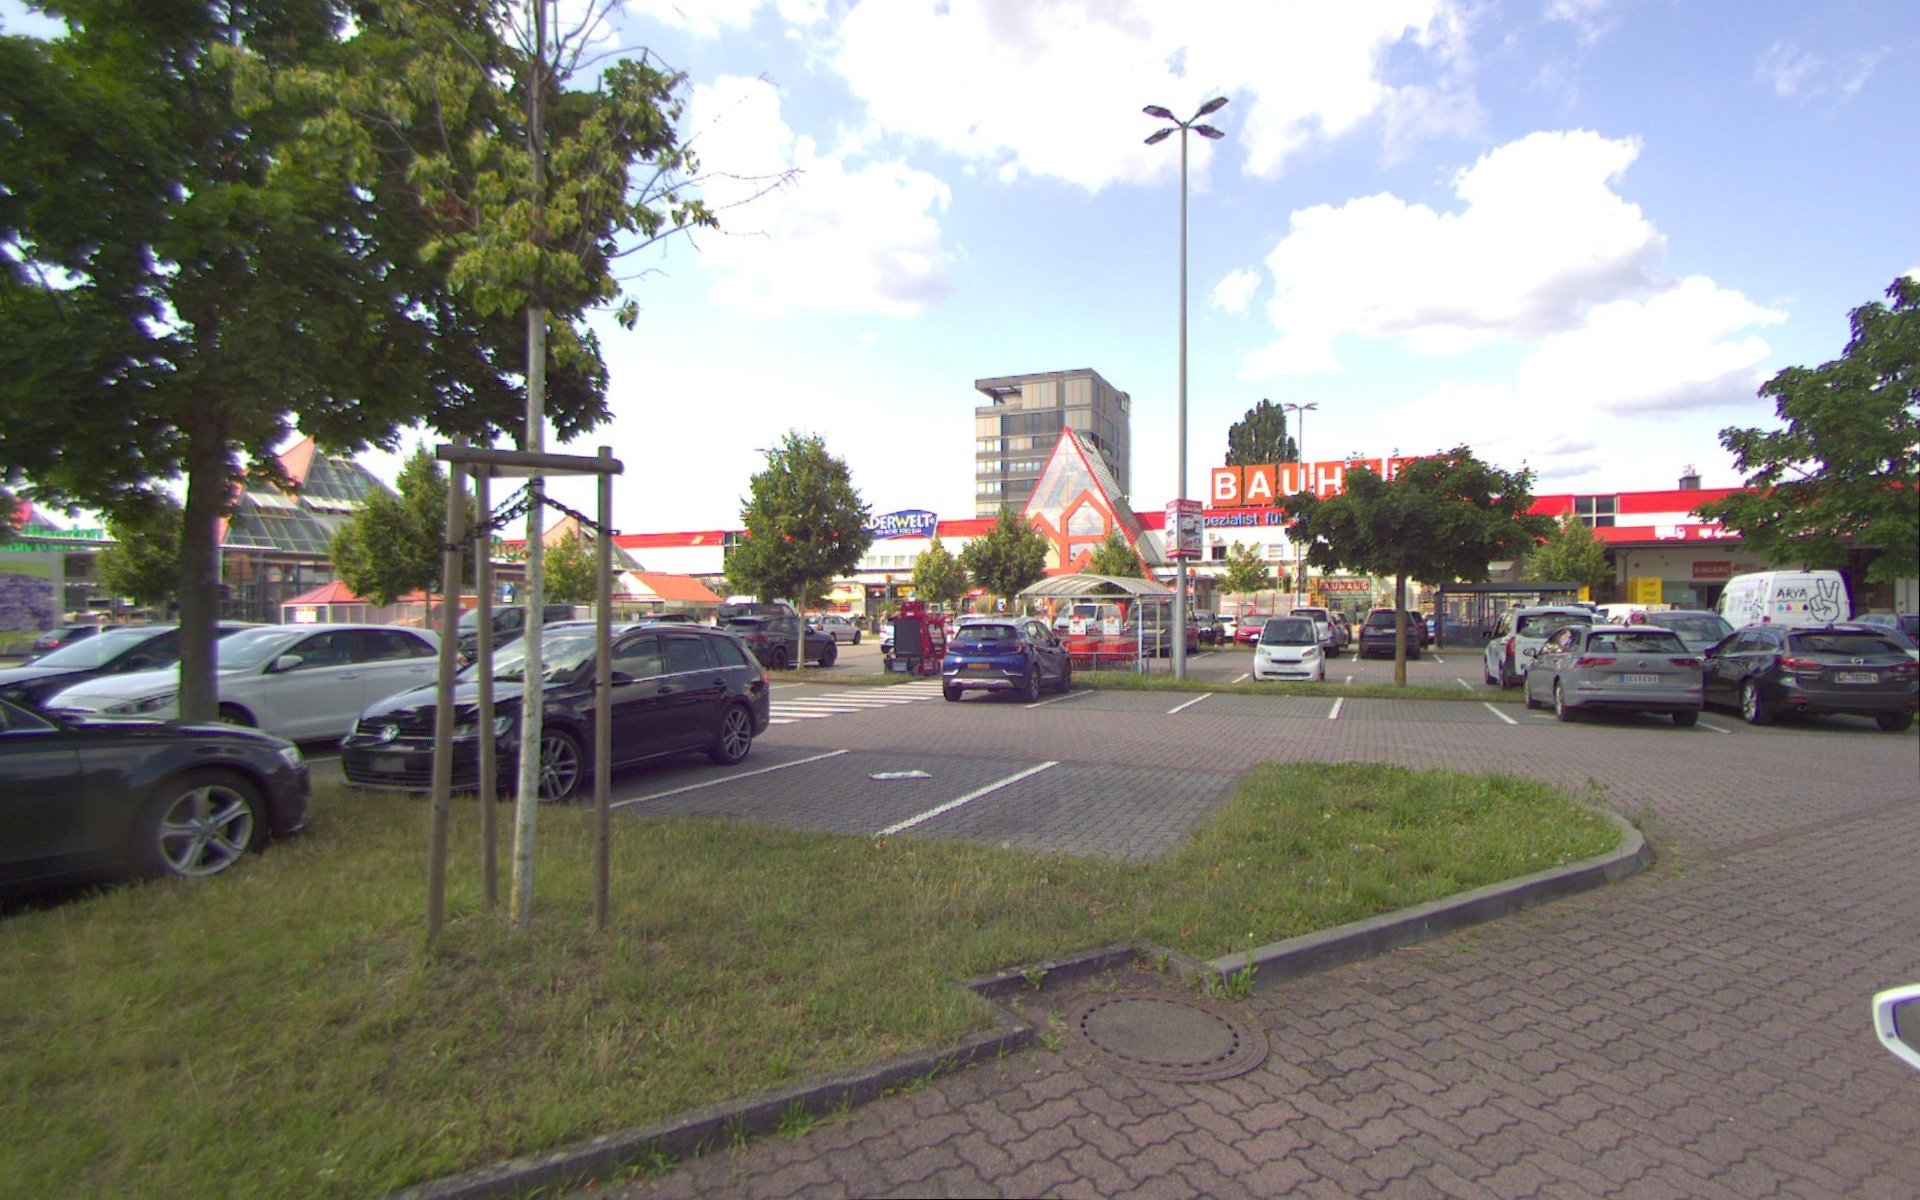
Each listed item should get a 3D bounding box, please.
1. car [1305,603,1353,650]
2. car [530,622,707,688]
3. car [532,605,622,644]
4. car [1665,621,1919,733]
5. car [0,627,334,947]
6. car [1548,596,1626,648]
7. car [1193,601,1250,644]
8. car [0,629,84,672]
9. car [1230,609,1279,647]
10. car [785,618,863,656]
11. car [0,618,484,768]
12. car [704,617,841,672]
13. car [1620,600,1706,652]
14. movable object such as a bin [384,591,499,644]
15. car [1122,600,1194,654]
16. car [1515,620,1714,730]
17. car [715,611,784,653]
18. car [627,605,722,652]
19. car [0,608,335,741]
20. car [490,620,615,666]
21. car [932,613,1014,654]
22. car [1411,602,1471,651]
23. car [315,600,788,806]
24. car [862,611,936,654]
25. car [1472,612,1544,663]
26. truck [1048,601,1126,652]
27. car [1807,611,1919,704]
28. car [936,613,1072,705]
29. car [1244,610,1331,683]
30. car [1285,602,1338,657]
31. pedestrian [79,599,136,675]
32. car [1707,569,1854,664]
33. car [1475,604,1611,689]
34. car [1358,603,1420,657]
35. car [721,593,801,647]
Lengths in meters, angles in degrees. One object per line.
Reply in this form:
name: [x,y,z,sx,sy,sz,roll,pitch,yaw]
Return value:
car: [17.569,1.245,47.887,1.961,2.040,4.000,3,0,20]
car: [-7.922,1.227,23.741,1.710,1.381,4.252,0,-1,19]
car: [-21.606,1.378,56.853,1.961,2.040,4.806,3,0,22]
car: [12.559,1.058,15.384,1.792,1.458,4.091,0,-1,19]
car: [-5.490,0.859,4.328,1.738,1.451,4.539,0,-1,24]
car: [27.162,0.941,43.665,1.961,2.040,4.000,3,0,20]
car: [13.705,1.179,52.468,1.963,2.040,3.995,3,0,27]
car: [-28.000,1.486,29.503,1.526,1.235,3.250,-4,-5,43]
car: [11.836,1.120,40.267,1.708,1.357,3.467,3,0,18]
car: [-6.538,1.757,48.716,1.961,1.653,3.999,3,0,22]
car: [-7.888,0.901,11.558,1.857,1.371,4.281,0,-1,20]
car: [-5.459,1.268,29.841,1.961,1.487,4.415,0,-1,22]
car: [30.096,1.113,43.131,1.961,2.040,4.000,3,0,20]
movable object such as a bin: [-26.488,0.907,51.569,2.088,2.527,5.339,0,-1,18]
car: [7.154,0.951,36.038,1.961,1.802,4.000,0,-1,20]
car: [9.974,1.053,15.621,1.691,1.466,3.774,0,-1,19]
car: [-8.861,1.336,42.408,1.662,1.635,2.658,3,0,18]
car: [-12.725,1.258,44.982,1.962,2.040,3.997,0,-1,25]
car: [-10.152,0.812,12.309,1.789,1.300,3.891,3,0,21]
car: [-13.136,1.359,32.583,1.711,1.405,3.559,0,-1,25]
car: [0.568,1.276,39.210,1.961,1.529,4.000,0,-1,21]
car: [22.036,1.193,46.164,1.961,2.040,4.000,3,0,20]
car: [-3.436,0.781,9.376,1.758,1.370,4.066,3,0,20]
car: [-2.362,1.264,39.687,1.694,1.529,3.237,3,0,21]
car: [17.348,1.165,31.937,1.513,1.424,3.625,3,0,21]
truck: [5.715,1.159,44.406,1.825,2.040,5.405,3,0,24]
car: [18.030,1.044,19.285,1.964,1.639,3.993,0,-1,30]
car: [0.969,1.099,19.937,1.717,1.636,3.725,0,-1,19]
car: [7.994,1.062,24.323,1.687,1.617,3.998,0,-1,23]
car: [11.998,1.013,34.196,1.571,1.766,3.166,-1,-2,21]
pedestrian: [-23.391,1.010,27.569,0.801,2.040,0.915,0,-1,21]
car: [23.841,0.431,29.417,2.013,2.543,4.726,1,0,23]
car: [12.258,0.924,21.372,1.873,1.617,3.999,0,-1,21]
car: [14.140,0.963,33.230,1.731,1.545,3.468,-2,2,21]
car: [-10.276,1.035,52.160,2.194,2.671,4.331,1,-1,18]
